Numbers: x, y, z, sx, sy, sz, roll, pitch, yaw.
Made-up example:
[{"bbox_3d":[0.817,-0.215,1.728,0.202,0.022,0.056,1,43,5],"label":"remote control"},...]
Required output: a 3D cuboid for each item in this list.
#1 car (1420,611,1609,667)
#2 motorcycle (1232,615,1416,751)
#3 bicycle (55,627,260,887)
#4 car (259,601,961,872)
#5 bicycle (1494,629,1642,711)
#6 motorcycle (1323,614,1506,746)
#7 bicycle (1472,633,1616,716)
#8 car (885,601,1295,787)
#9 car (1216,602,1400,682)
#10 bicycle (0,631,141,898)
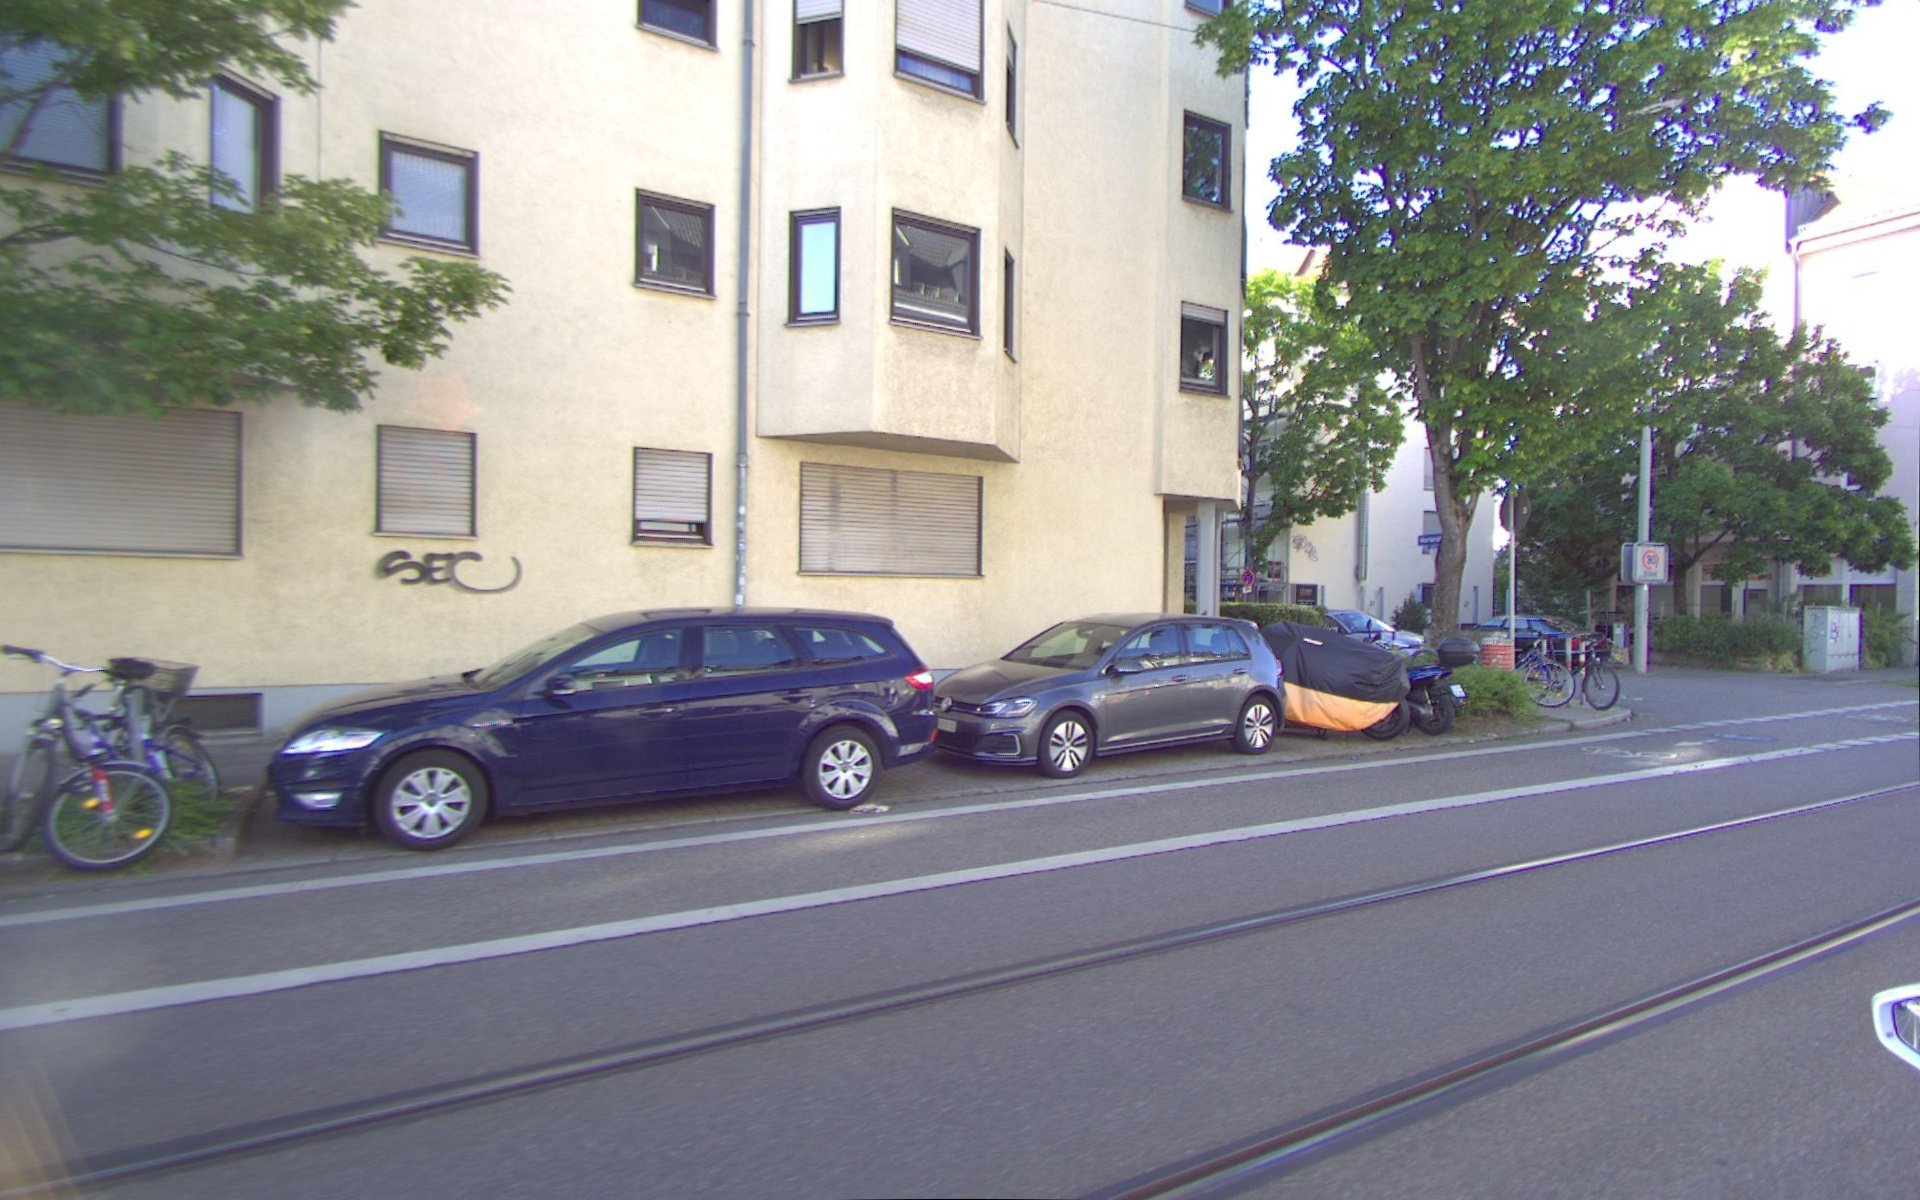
[{"bbox_3d":[15.419,1.036,28.203,1.691,1.406,4.542,1,-1,-25],"label":"car"},{"bbox_3d":[4.314,0.924,12.042,0.828,1.466,1.954,1,0,-36],"label":"motorcycle"},{"bbox_3d":[-5.167,0.882,6.616,0.691,1.352,2.282,1,0,-30],"label":"bicycle"},{"bbox_3d":[-2.450,0.822,7.761,4.676,1.563,1.757,1,0,-29],"label":"car"},{"bbox_3d":[9.061,1.008,15.048,0.588,1.099,1.869,0,0,-28],"label":"bicycle"},{"bbox_3d":[5.542,0.919,12.369,0.714,1.466,1.954,1,0,-36],"label":"motorcycle"},{"bbox_3d":[8.530,1.057,14.760,0.588,1.099,1.798,0,0,-28],"label":"bicycle"},{"bbox_3d":[1.424,0.819,10.352,4.085,1.563,1.725,1,0,-34],"label":"car"},{"bbox_3d":[8.147,0.917,23.860,1.884,1.682,3.975,-1,0,-25],"label":"car"},{"bbox_3d":[-5.793,0.904,6.254,0.691,1.352,2.282,1,0,-30],"label":"bicycle"}]
